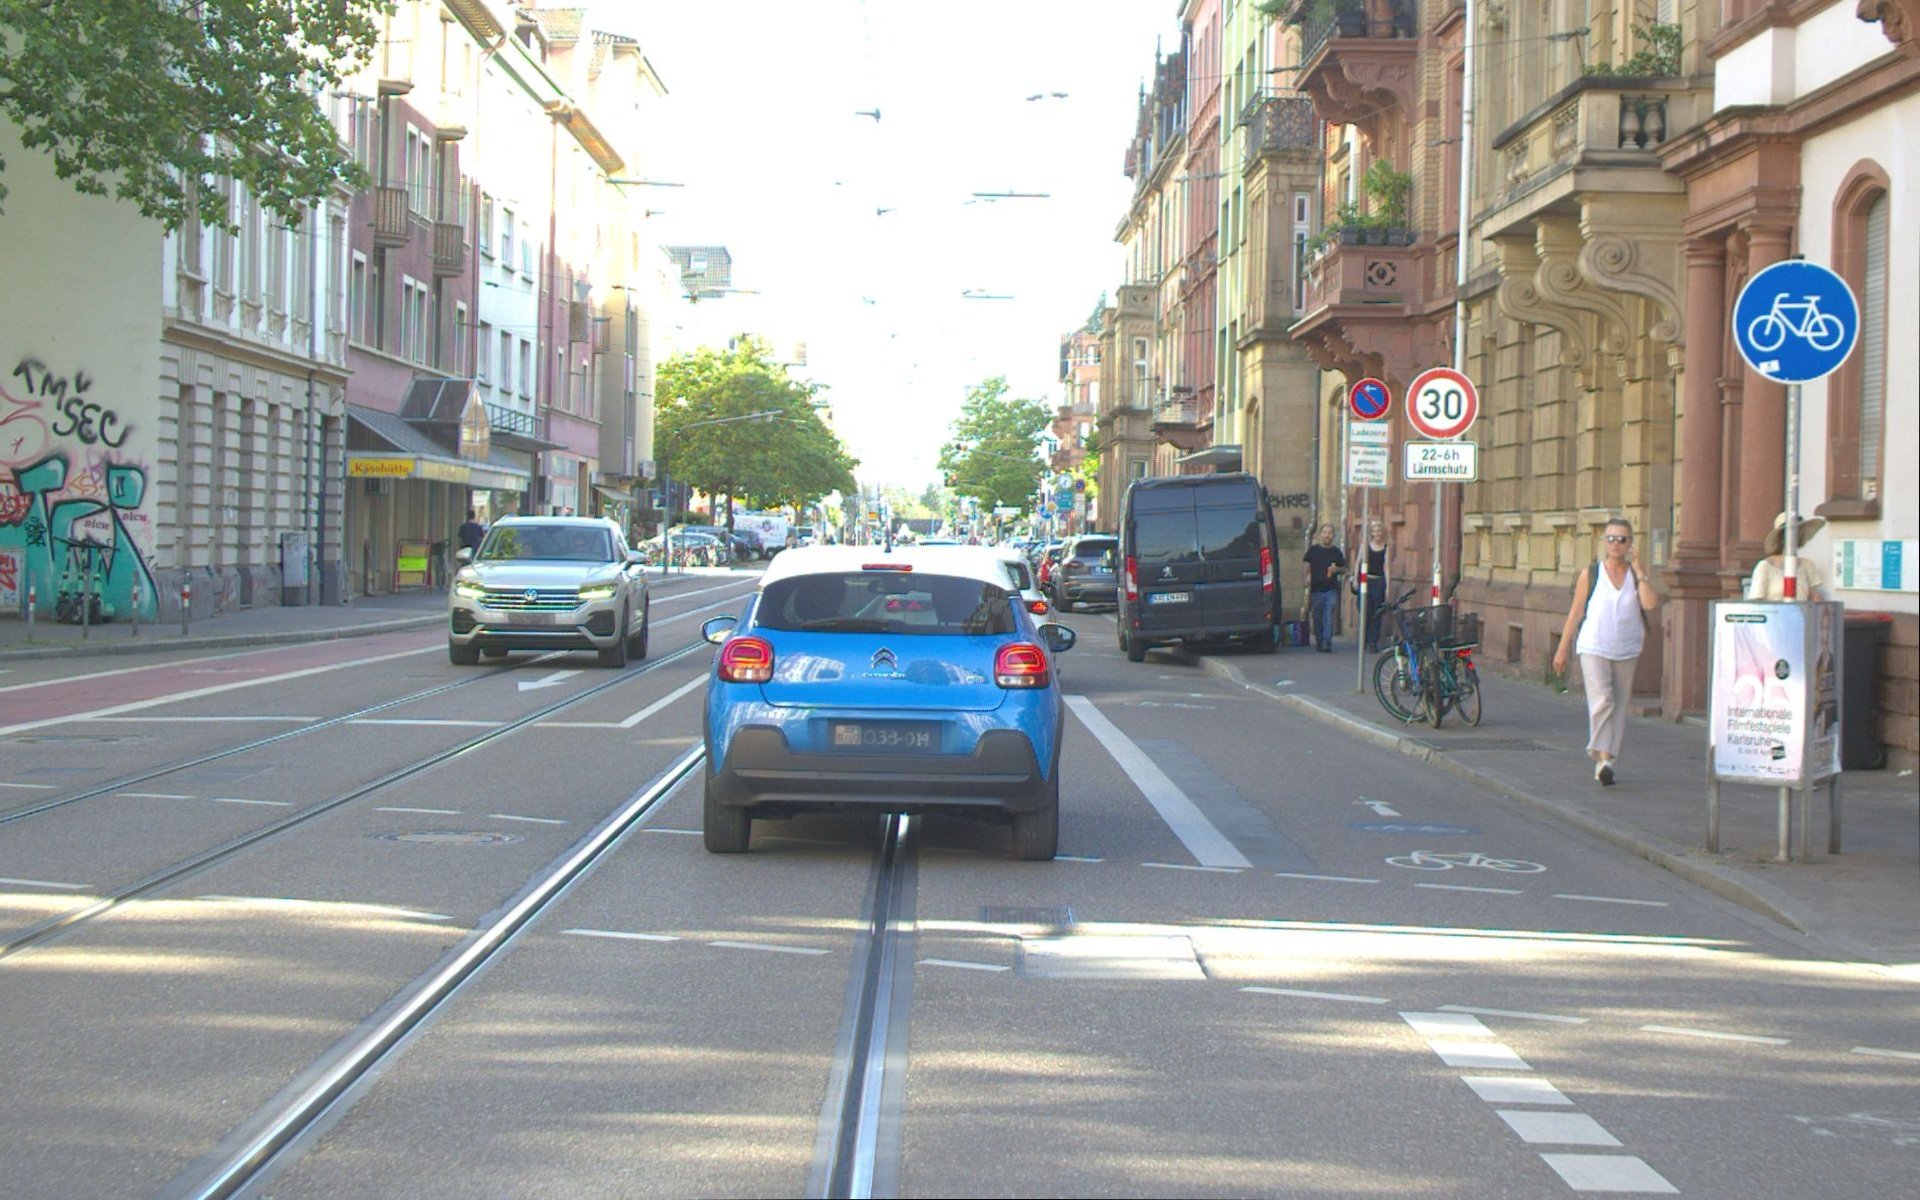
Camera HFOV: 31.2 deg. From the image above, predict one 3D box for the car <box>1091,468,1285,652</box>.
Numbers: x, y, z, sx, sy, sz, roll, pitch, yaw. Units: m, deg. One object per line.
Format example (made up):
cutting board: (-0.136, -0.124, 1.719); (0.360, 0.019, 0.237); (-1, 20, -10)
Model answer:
car: (3.178, -0.597, 49.157); (2.271, 2.428, 5.720); (1, 1, -1)

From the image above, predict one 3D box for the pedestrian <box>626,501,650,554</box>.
pedestrian: (-9.943, -2.232, 106.224); (0.685, 1.633, 0.675); (1, 1, -2)

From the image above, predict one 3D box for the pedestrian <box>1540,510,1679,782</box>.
pedestrian: (4.119, 0.281, 21.843); (0.626, 1.695, 0.682); (1, 1, -9)

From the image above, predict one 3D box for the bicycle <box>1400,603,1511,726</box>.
bicycle: (4.124, 0.525, 28.718); (0.431, 0.944, 1.764); (1, 1, -8)

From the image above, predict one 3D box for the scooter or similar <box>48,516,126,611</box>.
scooter or similar: (-12.441, -0.523, 48.999); (0.788, 1.267, 1.075); (4, 3, -2)

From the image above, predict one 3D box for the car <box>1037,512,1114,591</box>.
car: (3.348, -1.435, 100.440); (2.005, 1.666, 4.393); (3, 8, 0)

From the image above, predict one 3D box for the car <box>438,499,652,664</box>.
car: (-4.711, -0.247, 39.631); (1.993, 1.738, 4.563); (1, 1, -2)

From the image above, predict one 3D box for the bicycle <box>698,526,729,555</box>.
bicycle: (-10.082, -2.454, 140.596); (1.120, 1.142, 3.645); (1, 1, -6)

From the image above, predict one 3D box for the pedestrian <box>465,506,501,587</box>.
pedestrian: (-10.417, -1.172, 75.095); (0.710, 1.758, 0.570); (1, 1, -2)

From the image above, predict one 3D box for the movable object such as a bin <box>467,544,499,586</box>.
movable object such as a bin: (-10.523, -0.775, 75.898); (0.610, 0.911, 0.695); (1, 1, -1)

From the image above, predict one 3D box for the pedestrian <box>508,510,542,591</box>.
pedestrian: (-9.520, -1.081, 75.228); (0.710, 1.758, 0.655); (1, 1, -9)

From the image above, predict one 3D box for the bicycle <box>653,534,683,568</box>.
bicycle: (-11.957, -2.012, 140.699); (1.120, 1.315, 3.645); (1, 1, -6)

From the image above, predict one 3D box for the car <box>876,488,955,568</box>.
car: (-1.188, -1.887, 90.224); (1.993, 2.007, 4.000); (1, 1, -2)

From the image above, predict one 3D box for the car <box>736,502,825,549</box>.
car: (-9.834, -4.077, 188.400); (4.307, 2.572, 2.210); (-1, 1, -26)

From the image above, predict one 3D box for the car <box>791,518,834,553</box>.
car: (-7.191, -3.155, 167.504); (1.993, 1.645, 4.000); (1, 1, -1)

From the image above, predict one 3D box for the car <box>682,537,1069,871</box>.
car: (-0.324, 0.436, 17.662); (1.674, 1.472, 4.000); (2, 1, 3)

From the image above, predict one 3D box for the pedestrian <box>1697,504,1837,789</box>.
pedestrian: (5.097, 0.284, 21.738); (0.705, 1.776, 0.673); (0, 1, -2)

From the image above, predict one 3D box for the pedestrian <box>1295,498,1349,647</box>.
pedestrian: (4.965, -0.383, 47.174); (0.585, 2.007, 0.823); (1, 1, -2)

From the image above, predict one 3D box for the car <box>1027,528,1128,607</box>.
car: (2.568, -0.756, 76.362); (2.005, 1.667, 4.806); (1, 1, -1)

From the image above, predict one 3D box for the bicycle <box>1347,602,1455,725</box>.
bicycle: (3.662, 0.516, 28.650); (0.431, 0.944, 1.764); (1, 1, -8)

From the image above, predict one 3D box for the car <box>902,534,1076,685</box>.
car: (0.253, 0.056, 36.216); (1.667, 1.473, 4.000); (1, 1, -2)

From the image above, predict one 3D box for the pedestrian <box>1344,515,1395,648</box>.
pedestrian: (5.527, -0.258, 46.445); (0.553, 1.776, 0.606); (1, 1, -2)

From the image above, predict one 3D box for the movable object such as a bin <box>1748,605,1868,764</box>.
movable object such as a bin: (5.861, 0.580, 23.783); (0.666, 1.073, 0.571); (0, 1, -1)

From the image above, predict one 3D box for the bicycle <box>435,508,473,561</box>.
bicycle: (-11.266, -1.453, 76.489); (0.621, 1.155, 2.066); (1, 1, -14)

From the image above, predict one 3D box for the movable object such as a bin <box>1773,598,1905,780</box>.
movable object such as a bin: (5.917, 0.593, 23.167); (0.666, 1.149, 0.594); (-4, 2, -1)
